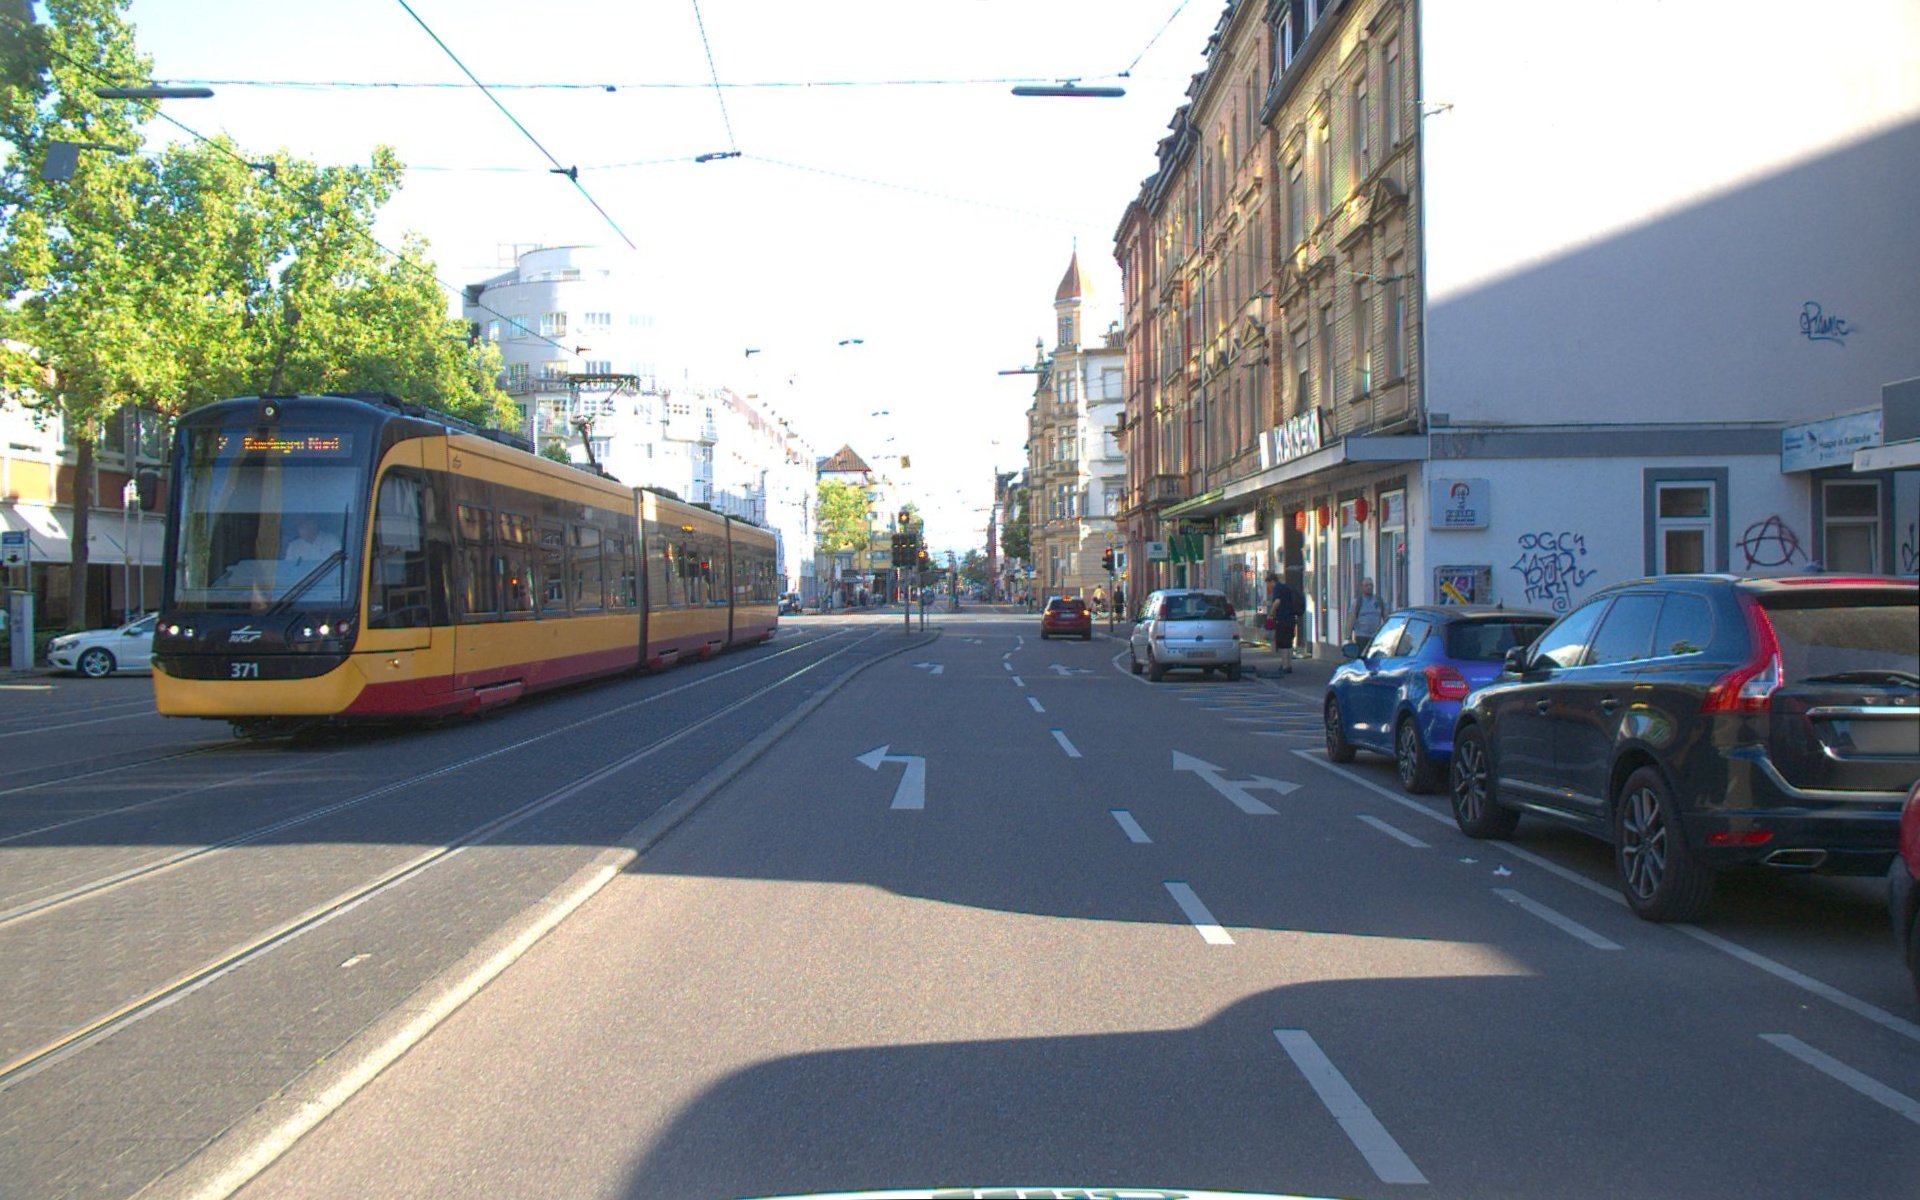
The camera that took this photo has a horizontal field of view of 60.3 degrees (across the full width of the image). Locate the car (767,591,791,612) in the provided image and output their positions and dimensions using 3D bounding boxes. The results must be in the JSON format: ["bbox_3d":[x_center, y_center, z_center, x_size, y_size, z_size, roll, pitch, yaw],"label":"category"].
[{"bbox_3d":[-15.989,0.108,146.050,1.666,1.748,3.564,-1,0,0],"label":"car"}]

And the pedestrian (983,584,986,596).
[{"bbox_3d":[3.780,-1.572,255.347,0.565,1.920,0.669,-1,0,0],"label":"pedestrian"}]

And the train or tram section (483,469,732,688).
[{"bbox_3d":[-6.687,-0.374,33.342,2.621,3.613,11.125,-2,0,0],"label":"train or tram section"}]

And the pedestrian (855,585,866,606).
[{"bbox_3d":[-9.658,-0.456,160.400,1.024,2.049,0.959,-1,0,-2],"label":"pedestrian"}]

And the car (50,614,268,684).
[{"bbox_3d":[-17.628,1.047,36.456,4.212,1.454,1.748,1,0,-31],"label":"car"}]

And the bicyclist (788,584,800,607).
[{"bbox_3d":[-13.043,-0.342,130.116,0.791,1.756,0.794,-1,0,0],"label":"bicyclist"}]

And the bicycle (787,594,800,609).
[{"bbox_3d":[-13.036,0.117,129.886,0.791,1.167,2.049,-1,0,0],"label":"bicycle"}]

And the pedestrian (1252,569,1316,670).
[{"bbox_3d":[6.067,0.358,31.030,0.927,1.823,1.055,-2,0,-1],"label":"pedestrian"}]

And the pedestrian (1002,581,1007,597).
[{"bbox_3d":[5.693,-1.455,211.231,0.565,2.049,0.631,-1,0,1],"label":"pedestrian"}]

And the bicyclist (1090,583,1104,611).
[{"bbox_3d":[7.175,-0.143,86.572,0.413,1.434,0.657,-1,0,32],"label":"bicyclist"}]

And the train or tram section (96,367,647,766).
[{"bbox_3d":[-6.611,-0.327,21.507,2.702,3.613,12.466,-2,0,0],"label":"train or tram section"}]

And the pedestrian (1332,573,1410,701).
[{"bbox_3d":[5.938,0.523,23.952,0.771,1.768,0.945,-4,-1,-1],"label":"pedestrian"}]

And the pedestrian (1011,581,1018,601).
[{"bbox_3d":[5.577,-0.930,168.959,0.565,2.049,0.631,-1,0,6],"label":"pedestrian"}]

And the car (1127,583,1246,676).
[{"bbox_3d":[4.210,0.513,31.273,1.604,1.643,3.944,0,0,-2],"label":"car"}]

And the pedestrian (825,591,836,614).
[{"bbox_3d":[-9.842,0.188,125.644,0.752,1.761,0.573,-1,0,2],"label":"pedestrian"}]

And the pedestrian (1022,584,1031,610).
[{"bbox_3d":[5.341,-0.218,132.618,0.638,2.049,0.759,-1,0,-1],"label":"pedestrian"}]

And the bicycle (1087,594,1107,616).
[{"bbox_3d":[7.166,0.246,86.545,0.413,1.115,1.409,-1,0,32],"label":"bicycle"}]

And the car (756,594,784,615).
[{"bbox_3d":[-15.250,0.342,133.032,1.729,1.573,3.461,-1,0,1],"label":"car"}]

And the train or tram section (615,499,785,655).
[{"bbox_3d":[-6.787,-0.557,45.327,2.621,3.613,12.840,-2,0,0],"label":"train or tram section"}]

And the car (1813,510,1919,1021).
[{"bbox_3d":[4.295,0.597,4.566,1.641,1.840,4.248,0,0,-1],"label":"car"}]

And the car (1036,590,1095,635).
[{"bbox_3d":[3.652,0.400,57.758,1.718,1.492,3.944,0,0,-2],"label":"car"}]

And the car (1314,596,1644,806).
[{"bbox_3d":[4.380,0.771,14.563,1.604,1.518,3.794,1,1,-2],"label":"car"}]

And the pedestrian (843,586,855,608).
[{"bbox_3d":[-10.294,-0.256,153.357,0.936,2.049,1.049,-1,0,0],"label":"pedestrian"}]

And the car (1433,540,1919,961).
[{"bbox_3d":[4.200,0.627,9.277,1.783,1.788,4.475,0,0,0],"label":"car"}]
